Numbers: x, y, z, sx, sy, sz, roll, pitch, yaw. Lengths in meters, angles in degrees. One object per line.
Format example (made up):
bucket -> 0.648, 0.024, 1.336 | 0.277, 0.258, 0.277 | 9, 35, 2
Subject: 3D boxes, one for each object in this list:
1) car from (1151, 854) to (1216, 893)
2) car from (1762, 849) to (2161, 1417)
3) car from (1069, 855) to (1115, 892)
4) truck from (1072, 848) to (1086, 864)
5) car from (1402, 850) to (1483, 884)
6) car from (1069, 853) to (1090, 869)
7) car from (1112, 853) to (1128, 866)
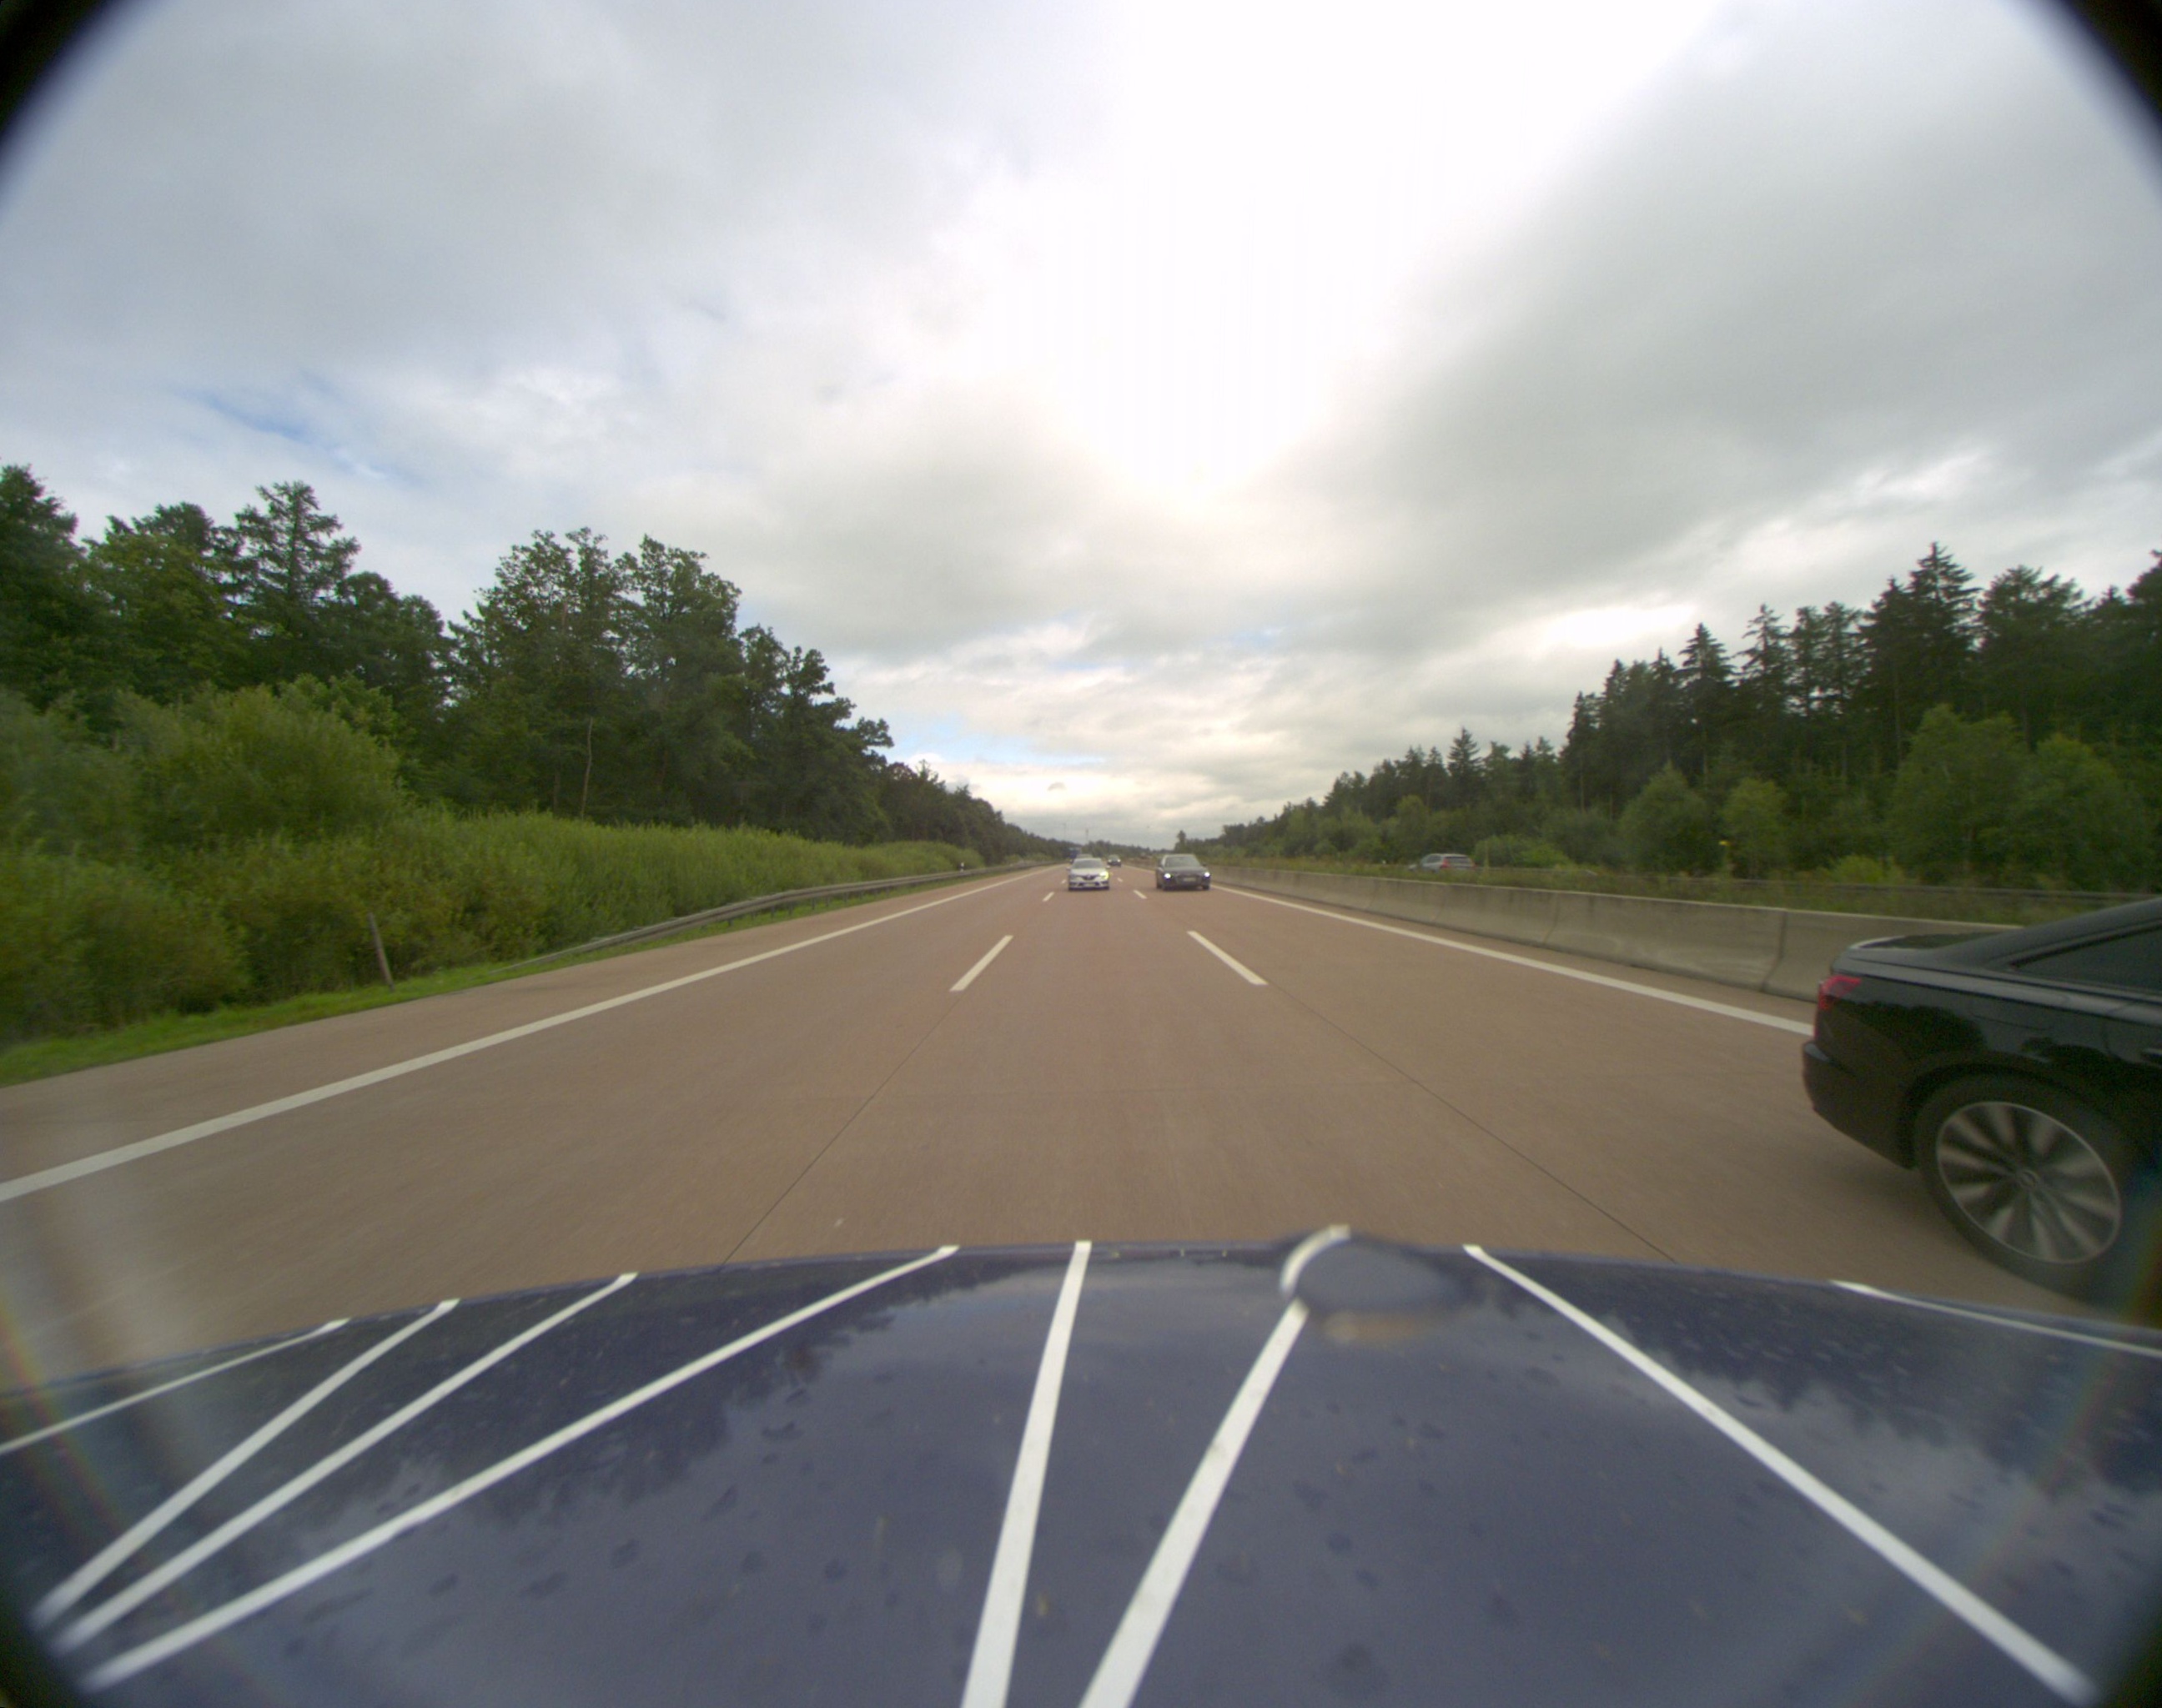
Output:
car -> 4.282, 0.765, 32.558 | 2.064, 1.483, 5.453 | -2, 0, 1
car -> 3.999, 0.786, 0.549 | 2.090, 1.541, 5.675 | -2, 0, 3
car -> 0.575, 0.846, 34.697 | 1.923, 1.516, 4.001 | -2, 0, 2
truck -> -0.498, 0.500, 190.824 | 2.956, 3.705, 7.950 | -5, 0, 1
car -> 18.723, 0.627, 39.630 | 1.998, 1.671, 4.886 | 0, 0, 1
car -> -0.153, 0.662, 75.386 | 1.986, 1.499, 4.052 | -2, 0, 1
car -> 5.521, 0.769, 107.084 | 1.998, 1.689, 5.252 | -2, 1, 1
